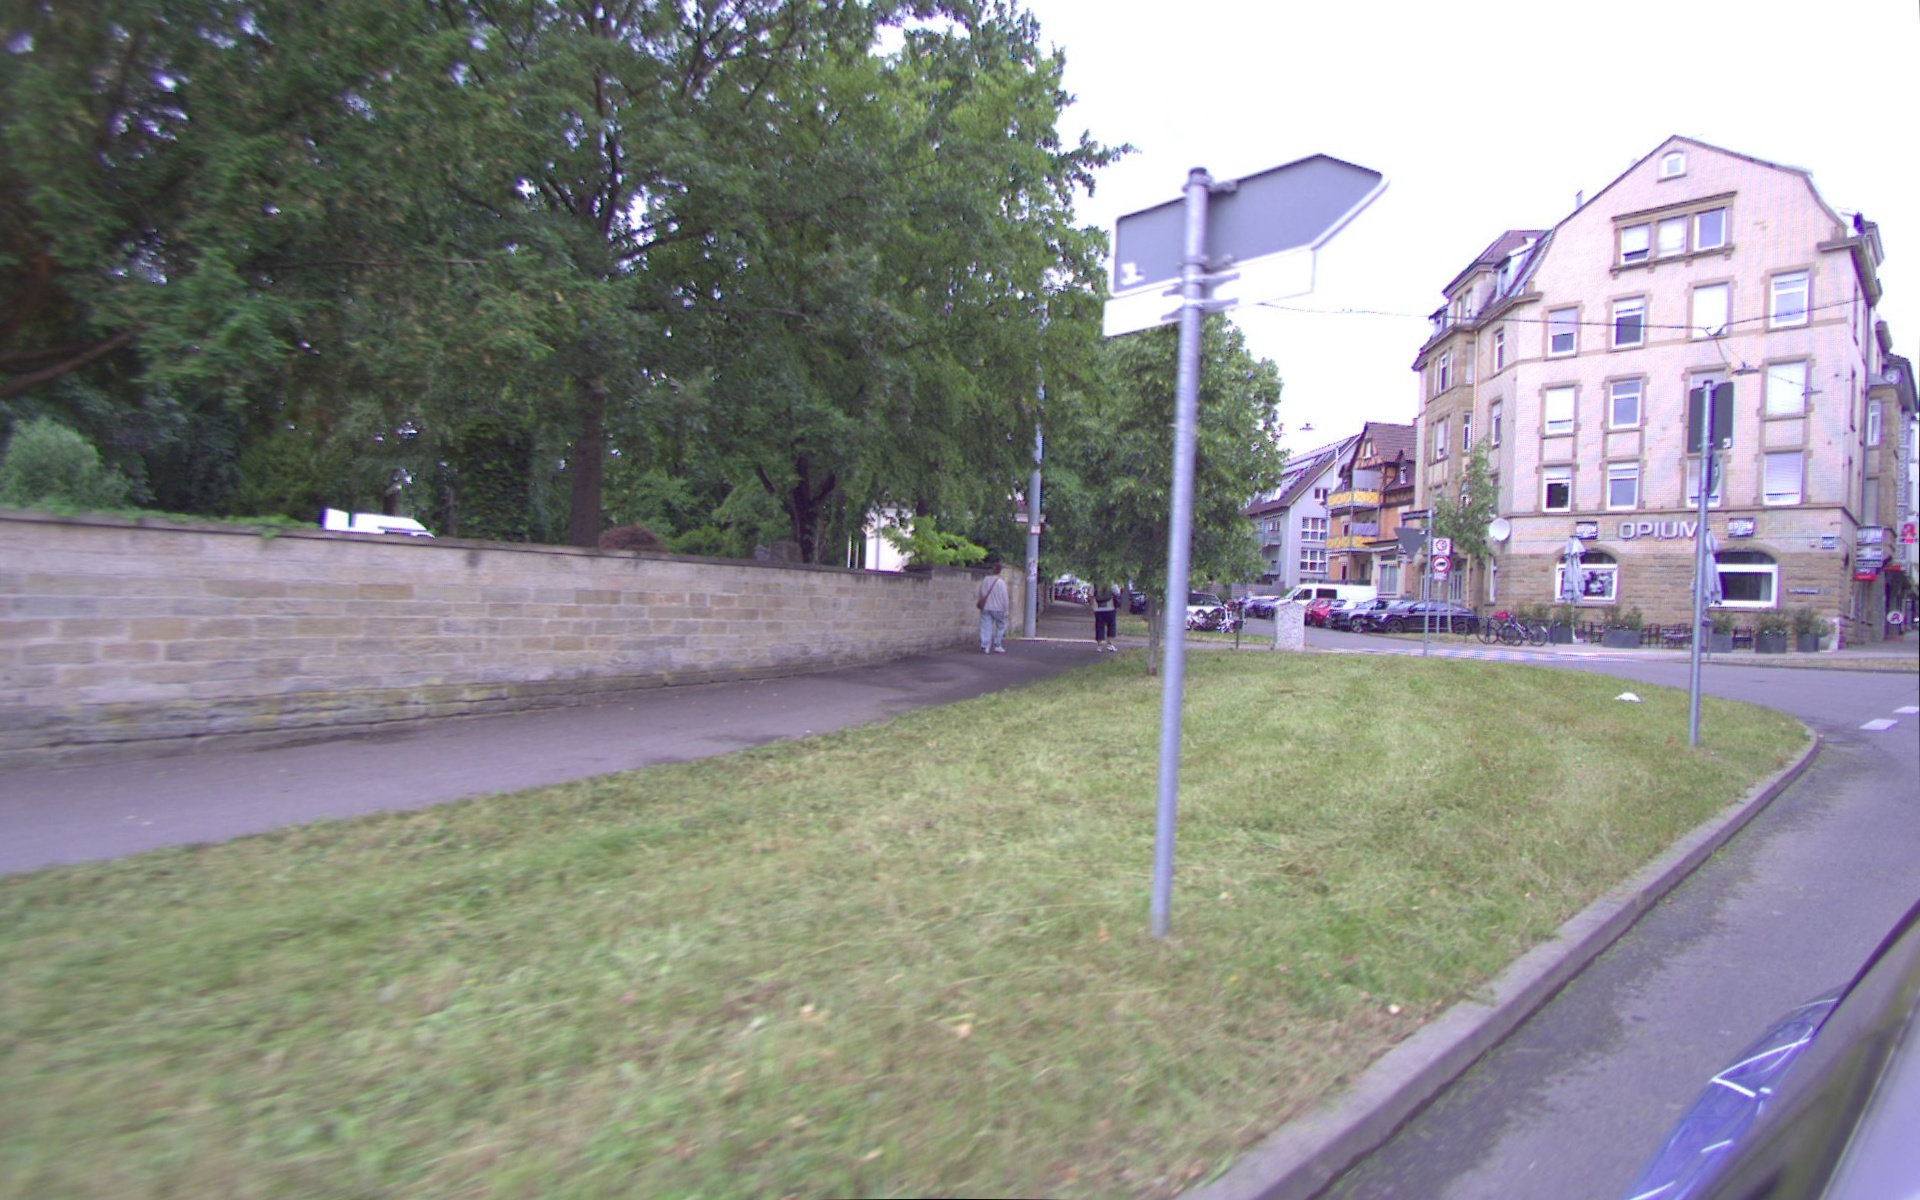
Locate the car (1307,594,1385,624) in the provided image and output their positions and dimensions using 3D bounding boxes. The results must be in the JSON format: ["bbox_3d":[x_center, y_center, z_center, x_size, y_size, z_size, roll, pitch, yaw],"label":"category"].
[{"bbox_3d":[19.127,0.448,50.232,3.231,1.455,1.549,-1,-1,-1],"label":"car"}]

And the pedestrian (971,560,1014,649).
[{"bbox_3d":[0.612,0.082,18.931,0.574,1.604,0.571,4,1,18],"label":"pedestrian"}]

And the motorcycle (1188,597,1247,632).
[{"bbox_3d":[9.088,0.511,35.739,1.992,1.184,0.552,-1,-1,44],"label":"motorcycle"}]

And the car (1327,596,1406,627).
[{"bbox_3d":[19.239,0.546,47.960,3.116,1.419,1.473,-1,-1,-3],"label":"car"}]

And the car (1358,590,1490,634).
[{"bbox_3d":[18.493,0.447,40.456,4.290,1.616,2.000,1,1,1],"label":"car"}]

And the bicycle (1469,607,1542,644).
[{"bbox_3d":[18.186,0.834,33.792,0.589,1.079,2.191,1,2,-25],"label":"bicycle"}]

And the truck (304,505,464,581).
[{"bbox_3d":[-23.916,-2.272,42.107,5.654,2.871,2.222,0,-1,-34],"label":"truck"}]

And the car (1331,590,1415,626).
[{"bbox_3d":[18.454,0.356,45.263,3.097,1.555,1.550,0,-1,-4],"label":"car"}]

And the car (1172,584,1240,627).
[{"bbox_3d":[9.495,0.175,39.366,1.780,1.517,4.274,1,1,4],"label":"car"}]

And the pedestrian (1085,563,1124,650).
[{"bbox_3d":[2.984,0.133,20.916,0.701,1.756,0.658,1,0,14],"label":"pedestrian"}]

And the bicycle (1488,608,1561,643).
[{"bbox_3d":[19.046,0.843,34.210,0.589,1.079,2.191,1,2,-25],"label":"bicycle"}]

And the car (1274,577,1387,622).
[{"bbox_3d":[20.205,-0.042,55.358,5.404,2.320,1.996,1,1,7],"label":"car"}]

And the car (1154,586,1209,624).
[{"bbox_3d":[9.879,0.197,45.436,1.966,1.616,4.364,0,0,7],"label":"car"}]
